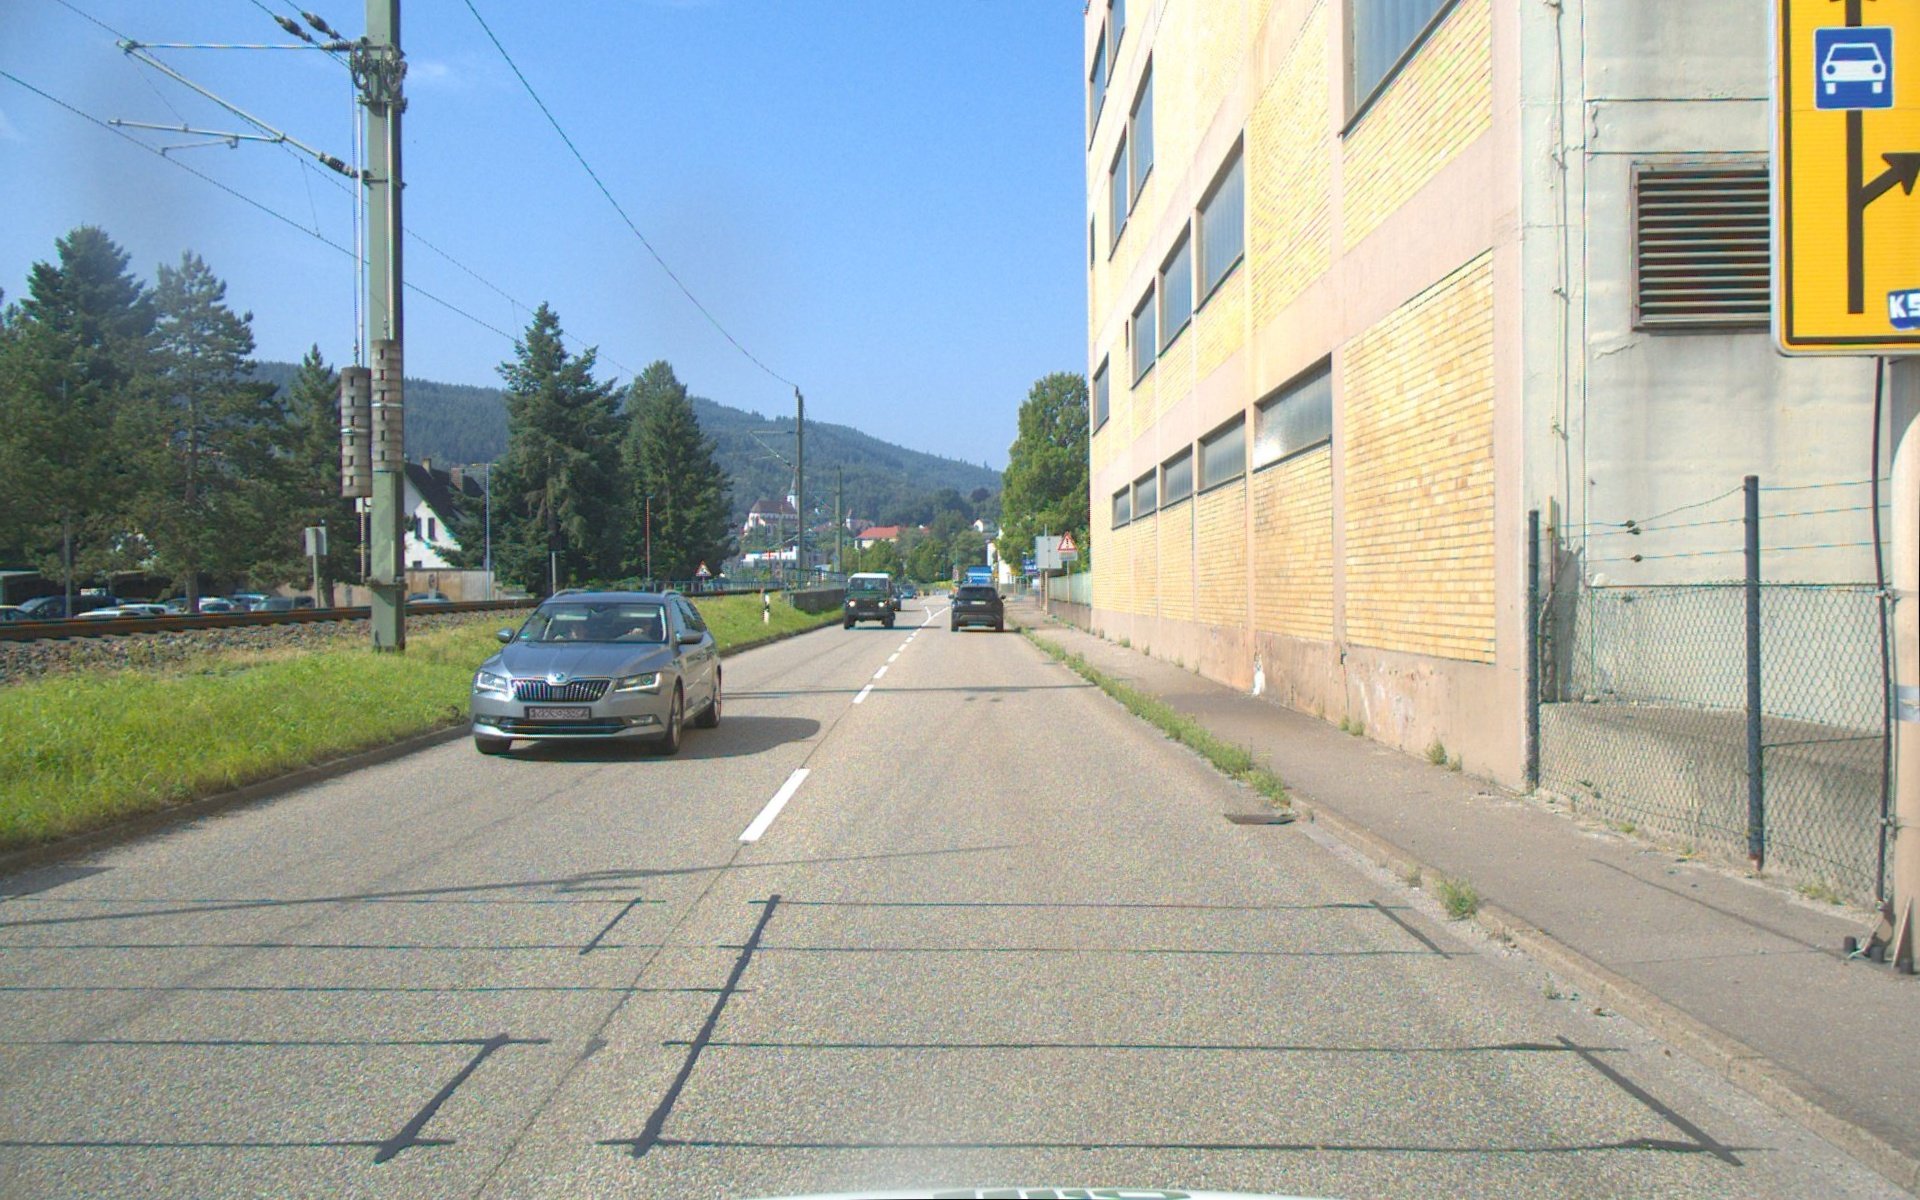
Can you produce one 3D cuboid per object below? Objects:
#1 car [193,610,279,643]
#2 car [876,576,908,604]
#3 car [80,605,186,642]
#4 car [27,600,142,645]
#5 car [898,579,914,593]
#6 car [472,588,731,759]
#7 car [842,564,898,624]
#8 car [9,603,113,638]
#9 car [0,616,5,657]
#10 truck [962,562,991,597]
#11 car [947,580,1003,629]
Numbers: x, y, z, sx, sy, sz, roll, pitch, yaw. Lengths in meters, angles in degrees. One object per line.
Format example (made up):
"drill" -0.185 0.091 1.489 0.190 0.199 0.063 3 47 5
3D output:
"car" -38.991 1.425 89.145 3.913 1.694 1.814 0 0 -9
"car" -3.921 -0.585 95.975 1.696 1.552 4.092 0 0 0
"car" -32.733 0.905 65.534 1.428 1.348 3.523 -1 0 36
"car" -35.144 0.875 66.474 1.613 1.717 3.792 -1 0 35
"car" -5.669 -1.460 174.352 1.706 1.533 4.199 0 0 -1
"car" -3.389 0.615 16.416 1.732 1.430 4.295 -1 0 -2
"car" -3.320 -0.238 61.637 1.722 2.114 4.808 1 0 1
"car" -37.046 0.840 68.204 1.428 1.348 3.523 -1 0 36
"car" -33.251 1.234 54.715 3.461 1.348 1.454 -1 0 32
"truck" 1.464 -1.853 147.262 2.266 3.022 5.963 0 1 -2
"car" 0.524 0.145 58.480 1.880 1.668 4.000 0 0 0
